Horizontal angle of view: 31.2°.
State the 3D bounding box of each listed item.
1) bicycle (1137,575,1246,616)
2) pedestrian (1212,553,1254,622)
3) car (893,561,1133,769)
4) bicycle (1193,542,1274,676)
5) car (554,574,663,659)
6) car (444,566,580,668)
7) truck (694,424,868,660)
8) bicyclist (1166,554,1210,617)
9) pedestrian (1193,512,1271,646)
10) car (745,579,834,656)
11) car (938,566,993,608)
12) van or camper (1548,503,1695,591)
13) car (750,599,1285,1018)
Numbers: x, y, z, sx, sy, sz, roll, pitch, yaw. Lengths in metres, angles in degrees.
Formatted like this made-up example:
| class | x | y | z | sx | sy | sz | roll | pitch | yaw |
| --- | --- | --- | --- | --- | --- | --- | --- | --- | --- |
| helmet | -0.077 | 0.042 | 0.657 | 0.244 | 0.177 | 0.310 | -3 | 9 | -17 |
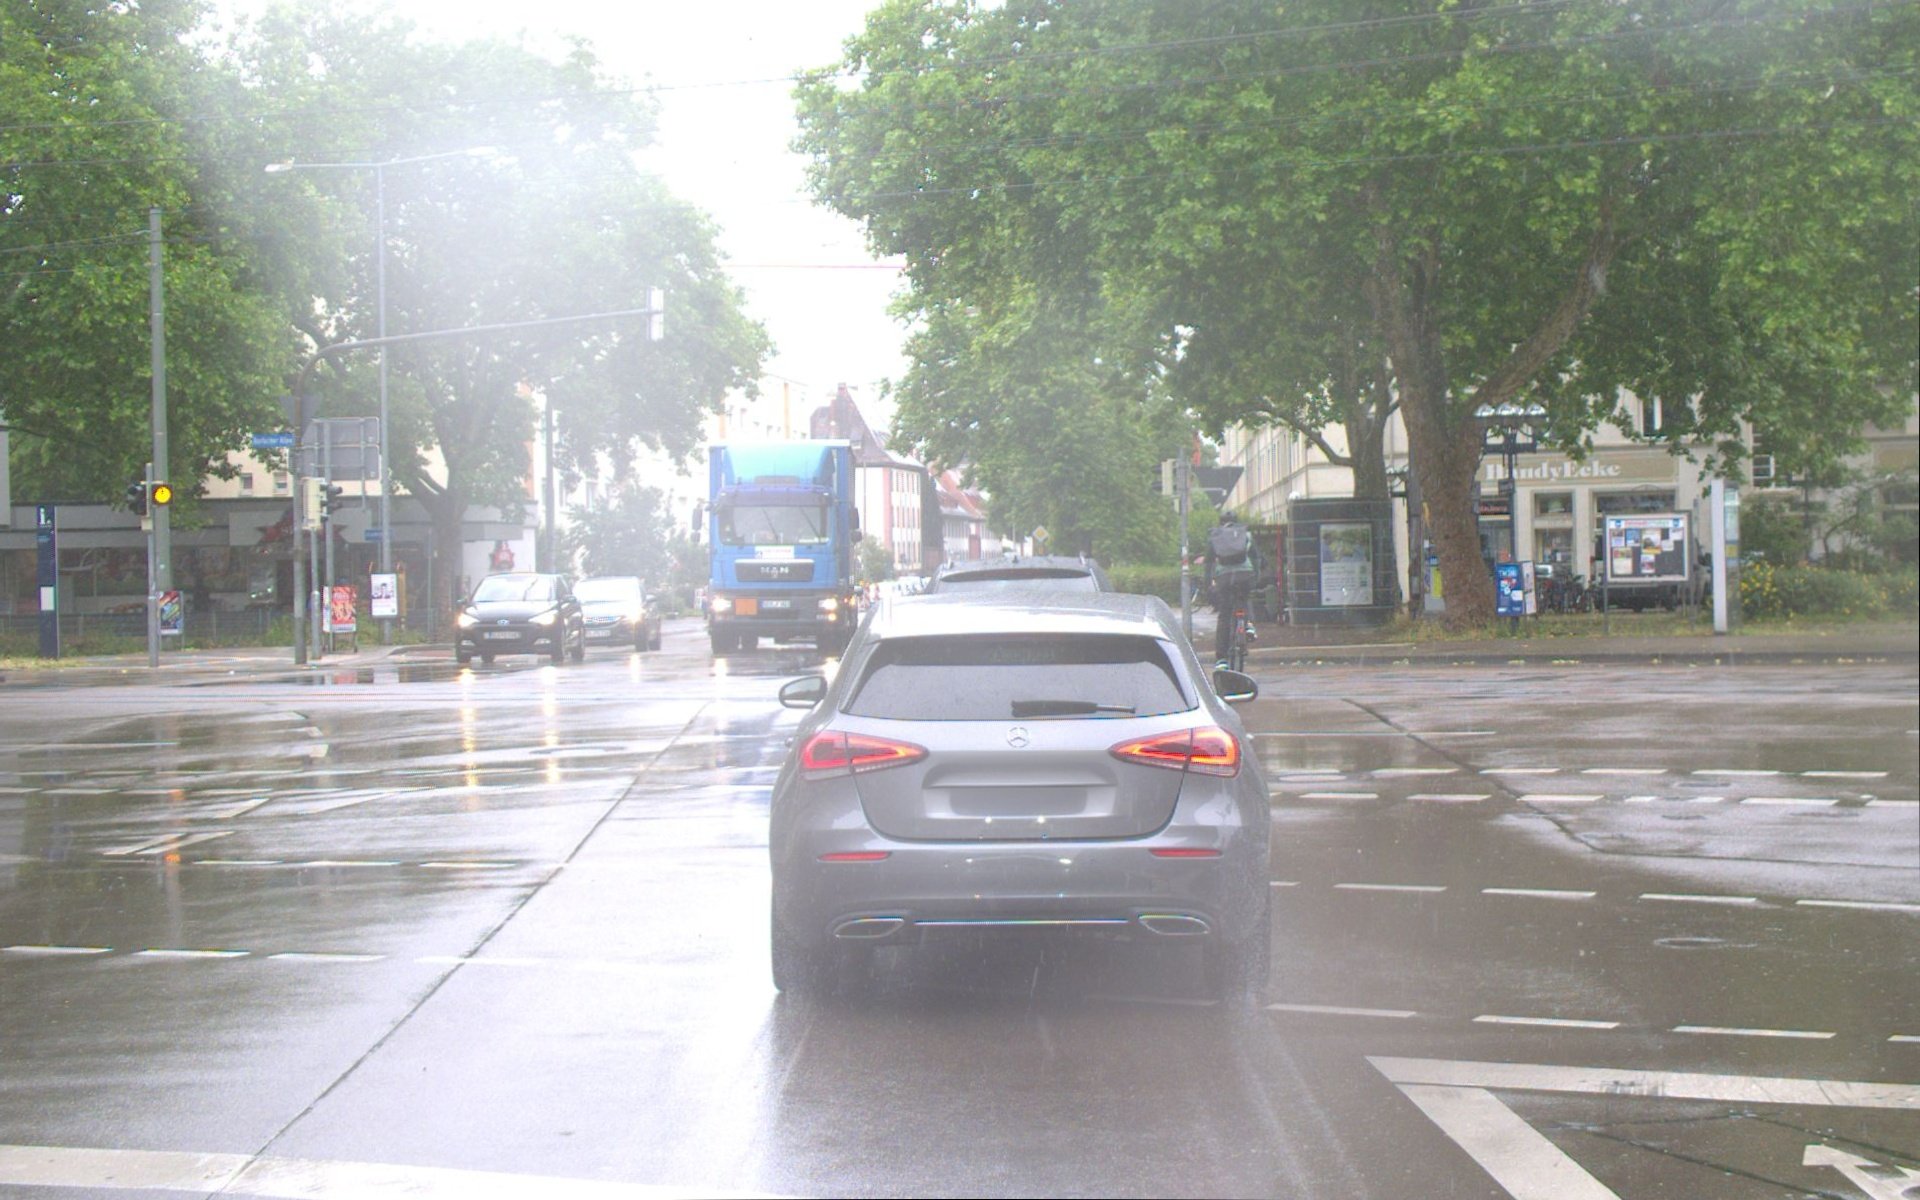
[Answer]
| class | x | y | z | sx | sy | sz | roll | pitch | yaw |
| --- | --- | --- | --- | --- | --- | --- | --- | --- | --- |
| bicycle | 7.277 | -0.146 | 108.106 | 3.205 | 1.108 | 1.054 | -2 | -4 | -19 |
| pedestrian | 6.679 | -0.302 | 84.058 | 0.663 | 1.663 | 0.718 | -1 | 0 | -39 |
| car | 0.338 | 0.427 | 25.634 | 1.607 | 1.368 | 4.000 | -2 | 1 | -1 |
| bicycle | 2.968 | 0.077 | 37.142 | 0.749 | 1.372 | 2.706 | -2 | 1 | 6 |
| car | -6.802 | 0.295 | 66.847 | 1.726 | 1.541 | 4.340 | -2 | 1 | -1 |
| car | -7.237 | 0.254 | 55.800 | 1.743 | 1.541 | 3.779 | -2 | 1 | -1 |
| truck | -3.265 | -1.062 | 65.236 | 2.845 | 4.011 | 10.317 | -2 | 1 | -1 |
| bicyclist | 7.167 | -0.459 | 108.041 | 0.938 | 1.862 | 1.143 | -2 | -4 | -19 |
| pedestrian | 2.933 | -0.224 | 36.965 | 0.744 | 1.393 | 1.047 | -2 | 0 | 7 |
| car | -3.746 | 0.363 | 75.945 | 1.742 | 1.598 | 4.000 | -1 | 0 | 0 |
| car | 0.198 | -0.496 | 134.526 | 1.993 | 1.568 | 4.000 | -1 | 0 | -2 |
| van or camper | 17.696 | -1.417 | 91.792 | 2.400 | 2.224 | 5.422 | -1 | 0 | 27 |
| car | 0.171 | 0.699 | 13.280 | 1.791 | 1.368 | 3.507 | 0 | 1 | -1 |
